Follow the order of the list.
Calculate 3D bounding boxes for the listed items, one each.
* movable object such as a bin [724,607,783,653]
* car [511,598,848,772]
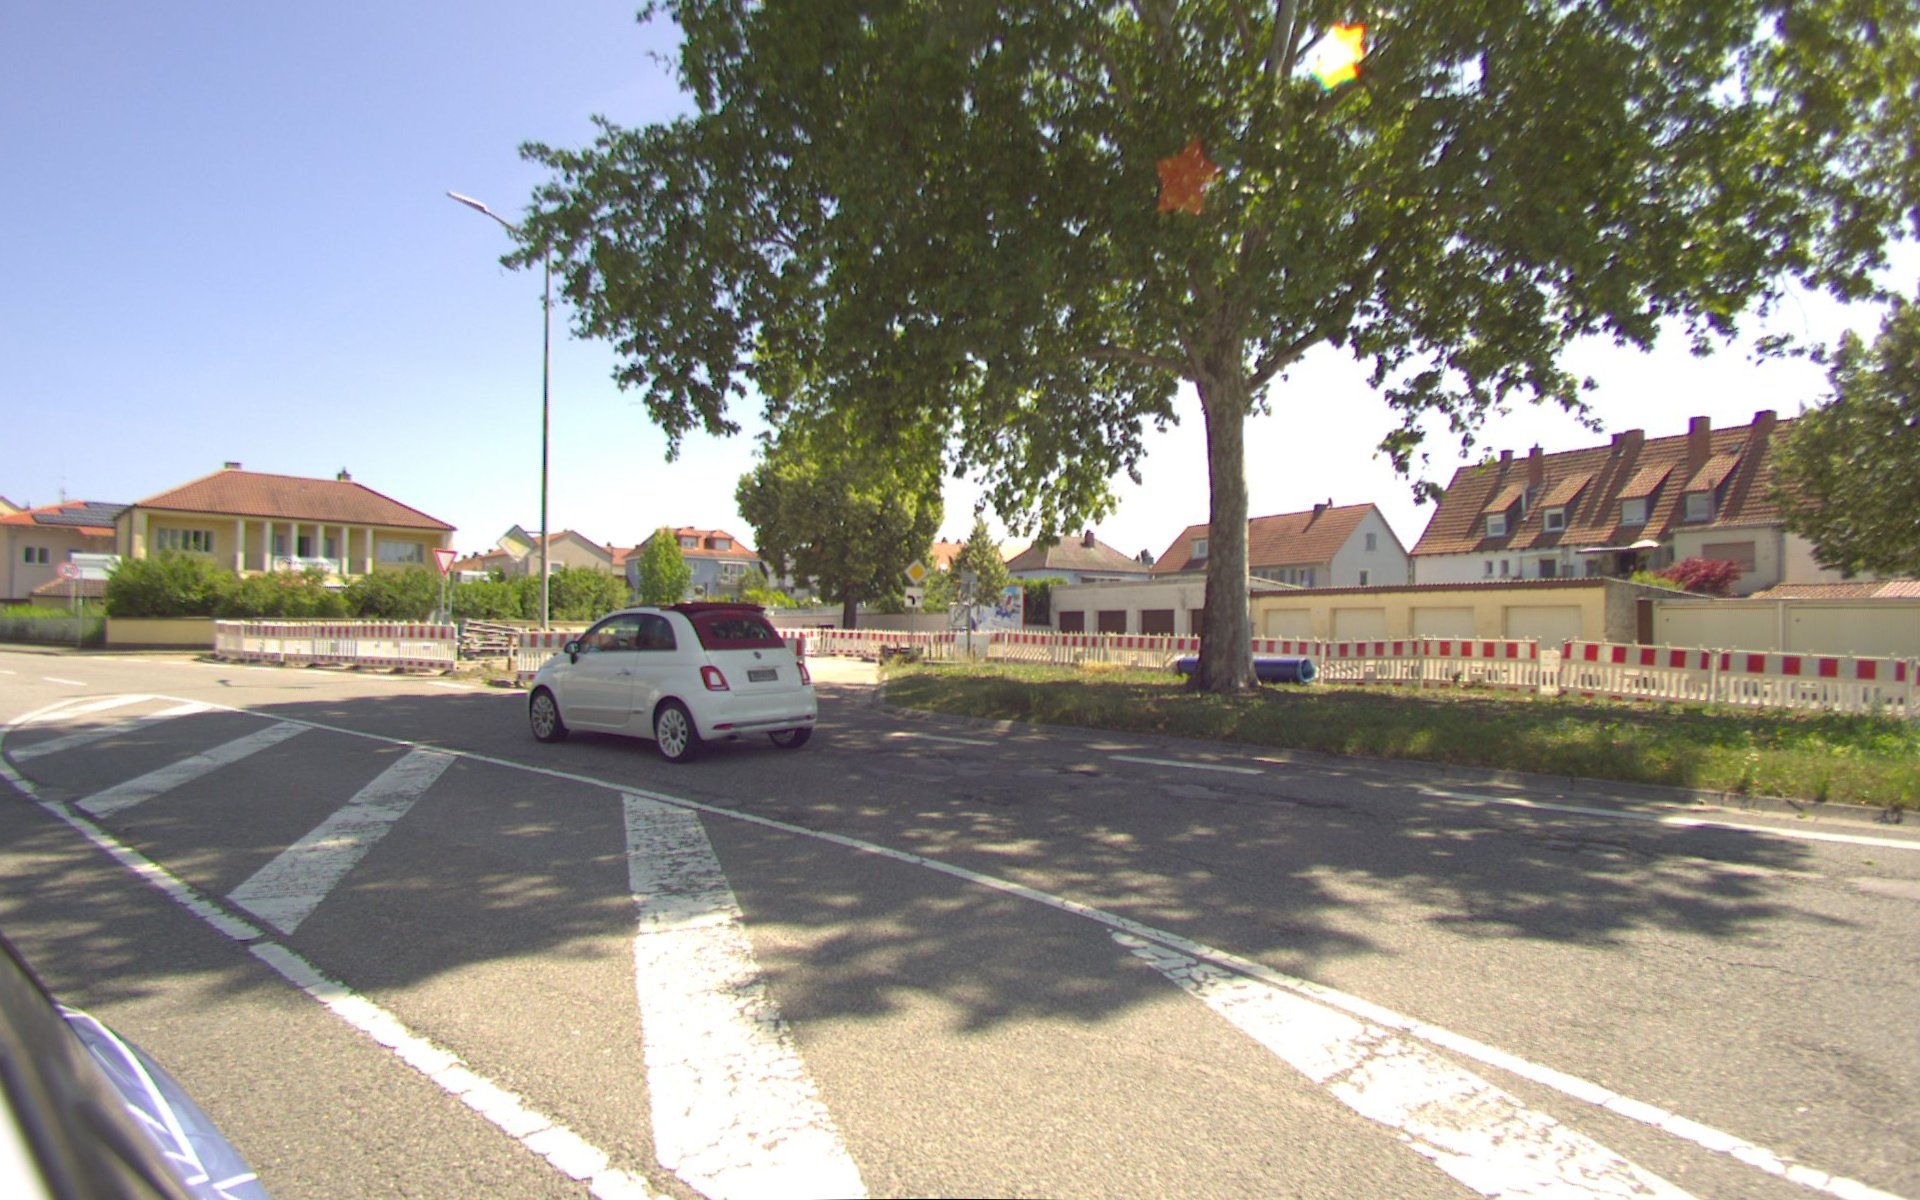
[{"bbox_3d":[-12.756,1.859,62.277,2.239,2.756,3.941,2,-3,-33],"label":"movable object such as a bin"},{"bbox_3d":[-3.011,0.770,10.622,3.453,1.521,1.683,-1,-1,38],"label":"car"}]
